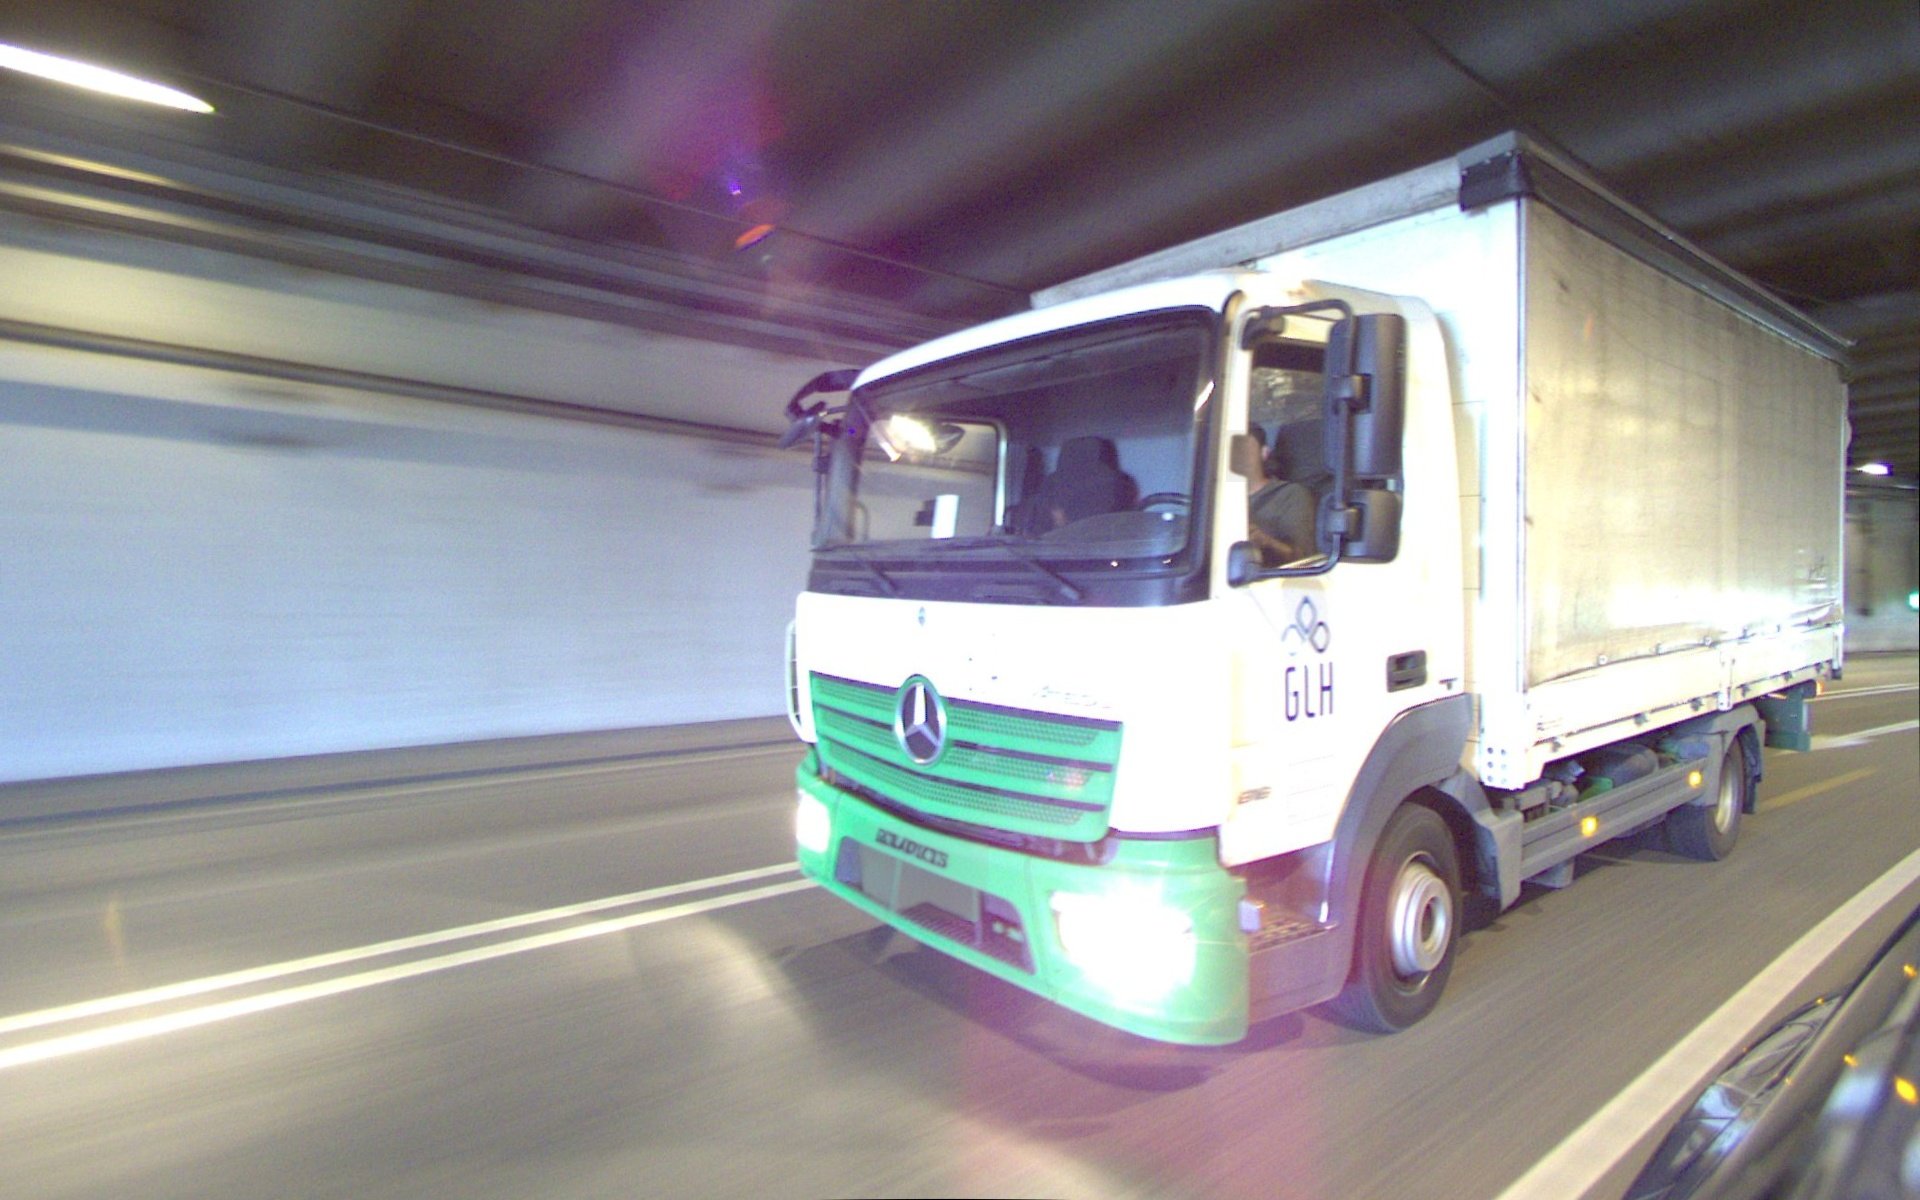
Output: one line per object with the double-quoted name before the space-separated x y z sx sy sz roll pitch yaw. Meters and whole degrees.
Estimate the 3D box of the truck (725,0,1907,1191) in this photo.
"truck" 2.643 -0.302 5.613 7.279 3.280 2.636 0 0 -37
